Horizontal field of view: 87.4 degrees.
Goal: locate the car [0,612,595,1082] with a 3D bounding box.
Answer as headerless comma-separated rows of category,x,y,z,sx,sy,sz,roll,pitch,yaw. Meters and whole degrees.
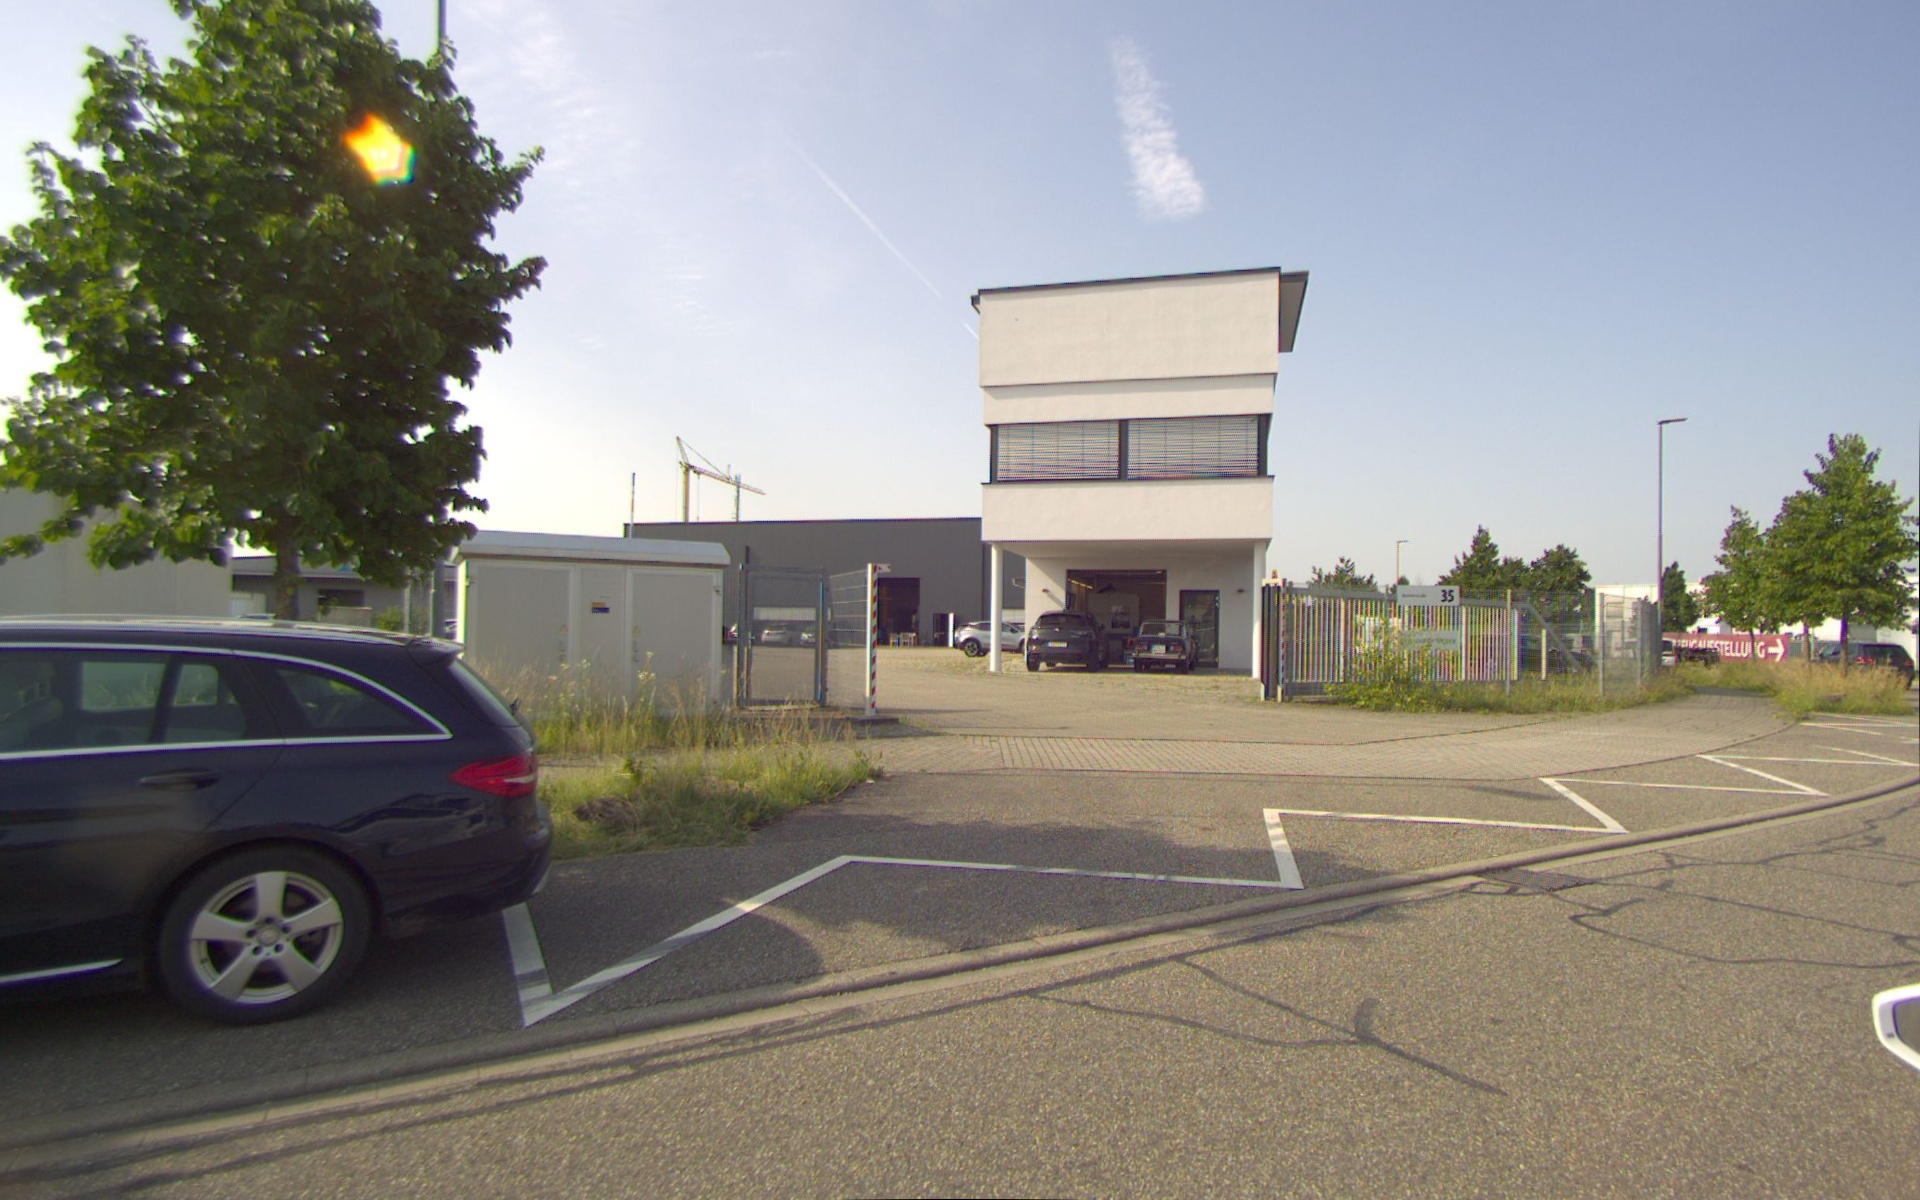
car,-3.906,0.814,3.971,4.378,1.486,1.985,1,0,-29

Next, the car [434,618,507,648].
car,-30.309,2.067,62.281,3.947,1.792,1.860,2,-2,-26

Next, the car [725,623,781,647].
car,-13.597,2.309,66.111,1.634,1.461,3.950,0,-2,23

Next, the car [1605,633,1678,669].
car,38.386,2.822,56.714,1.959,1.924,4.470,0,-2,13

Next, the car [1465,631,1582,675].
car,20.693,1.926,37.006,3.433,1.473,1.598,1,-1,13

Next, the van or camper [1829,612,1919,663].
van or camper,59.021,2.381,64.512,6.709,3.125,2.652,1,-1,-28

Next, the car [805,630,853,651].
car,-8.278,2.541,63.791,1.633,1.237,3.821,1,-2,16

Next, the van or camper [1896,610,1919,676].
van or camper,44.508,1.937,44.405,2.293,2.982,6.968,0,-1,23

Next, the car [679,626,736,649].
car,-16.807,2.479,67.050,1.634,1.461,3.950,0,-2,23

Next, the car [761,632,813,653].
car,-11.181,2.742,65.076,1.633,1.331,3.820,0,-2,20

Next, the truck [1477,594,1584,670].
truck,33.367,1.892,59.392,2.582,3.980,12.925,1,-2,16

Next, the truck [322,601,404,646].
truck,-35.569,1.432,59.942,3.945,2.547,1.988,1,-2,-24

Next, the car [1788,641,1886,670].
car,47.329,2.970,54.220,3.932,1.496,2.167,1,-2,-14

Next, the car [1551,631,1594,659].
car,47.165,3.459,77.411,1.788,2.004,4.002,-3,-2,17

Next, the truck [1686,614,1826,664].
truck,68.203,3.277,86.339,2.431,4.025,9.236,1,-1,-31

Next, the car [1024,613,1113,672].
car,3.121,1.162,28.216,1.831,1.507,4.002,1,-2,16

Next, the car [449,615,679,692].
car,-8.525,1.088,21.741,4.425,1.514,1.824,1,-1,-31

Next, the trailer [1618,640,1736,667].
trailer,42.808,3.157,60.381,2.579,1.406,9.460,-2,-2,15

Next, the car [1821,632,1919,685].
car,33.690,2.119,37.257,1.965,1.828,3.992,-1,-1,31

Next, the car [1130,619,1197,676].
car,5.707,1.280,27.875,1.532,1.434,3.923,1,-2,16

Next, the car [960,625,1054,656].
car,2.055,1.756,43.473,3.842,1.264,1.564,0,-2,15

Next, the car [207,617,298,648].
car,-39.876,1.845,56.714,3.949,1.664,1.859,2,-2,-27

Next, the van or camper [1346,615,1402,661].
van or camper,24.781,2.263,60.366,2.266,2.594,4.957,0,-2,12
